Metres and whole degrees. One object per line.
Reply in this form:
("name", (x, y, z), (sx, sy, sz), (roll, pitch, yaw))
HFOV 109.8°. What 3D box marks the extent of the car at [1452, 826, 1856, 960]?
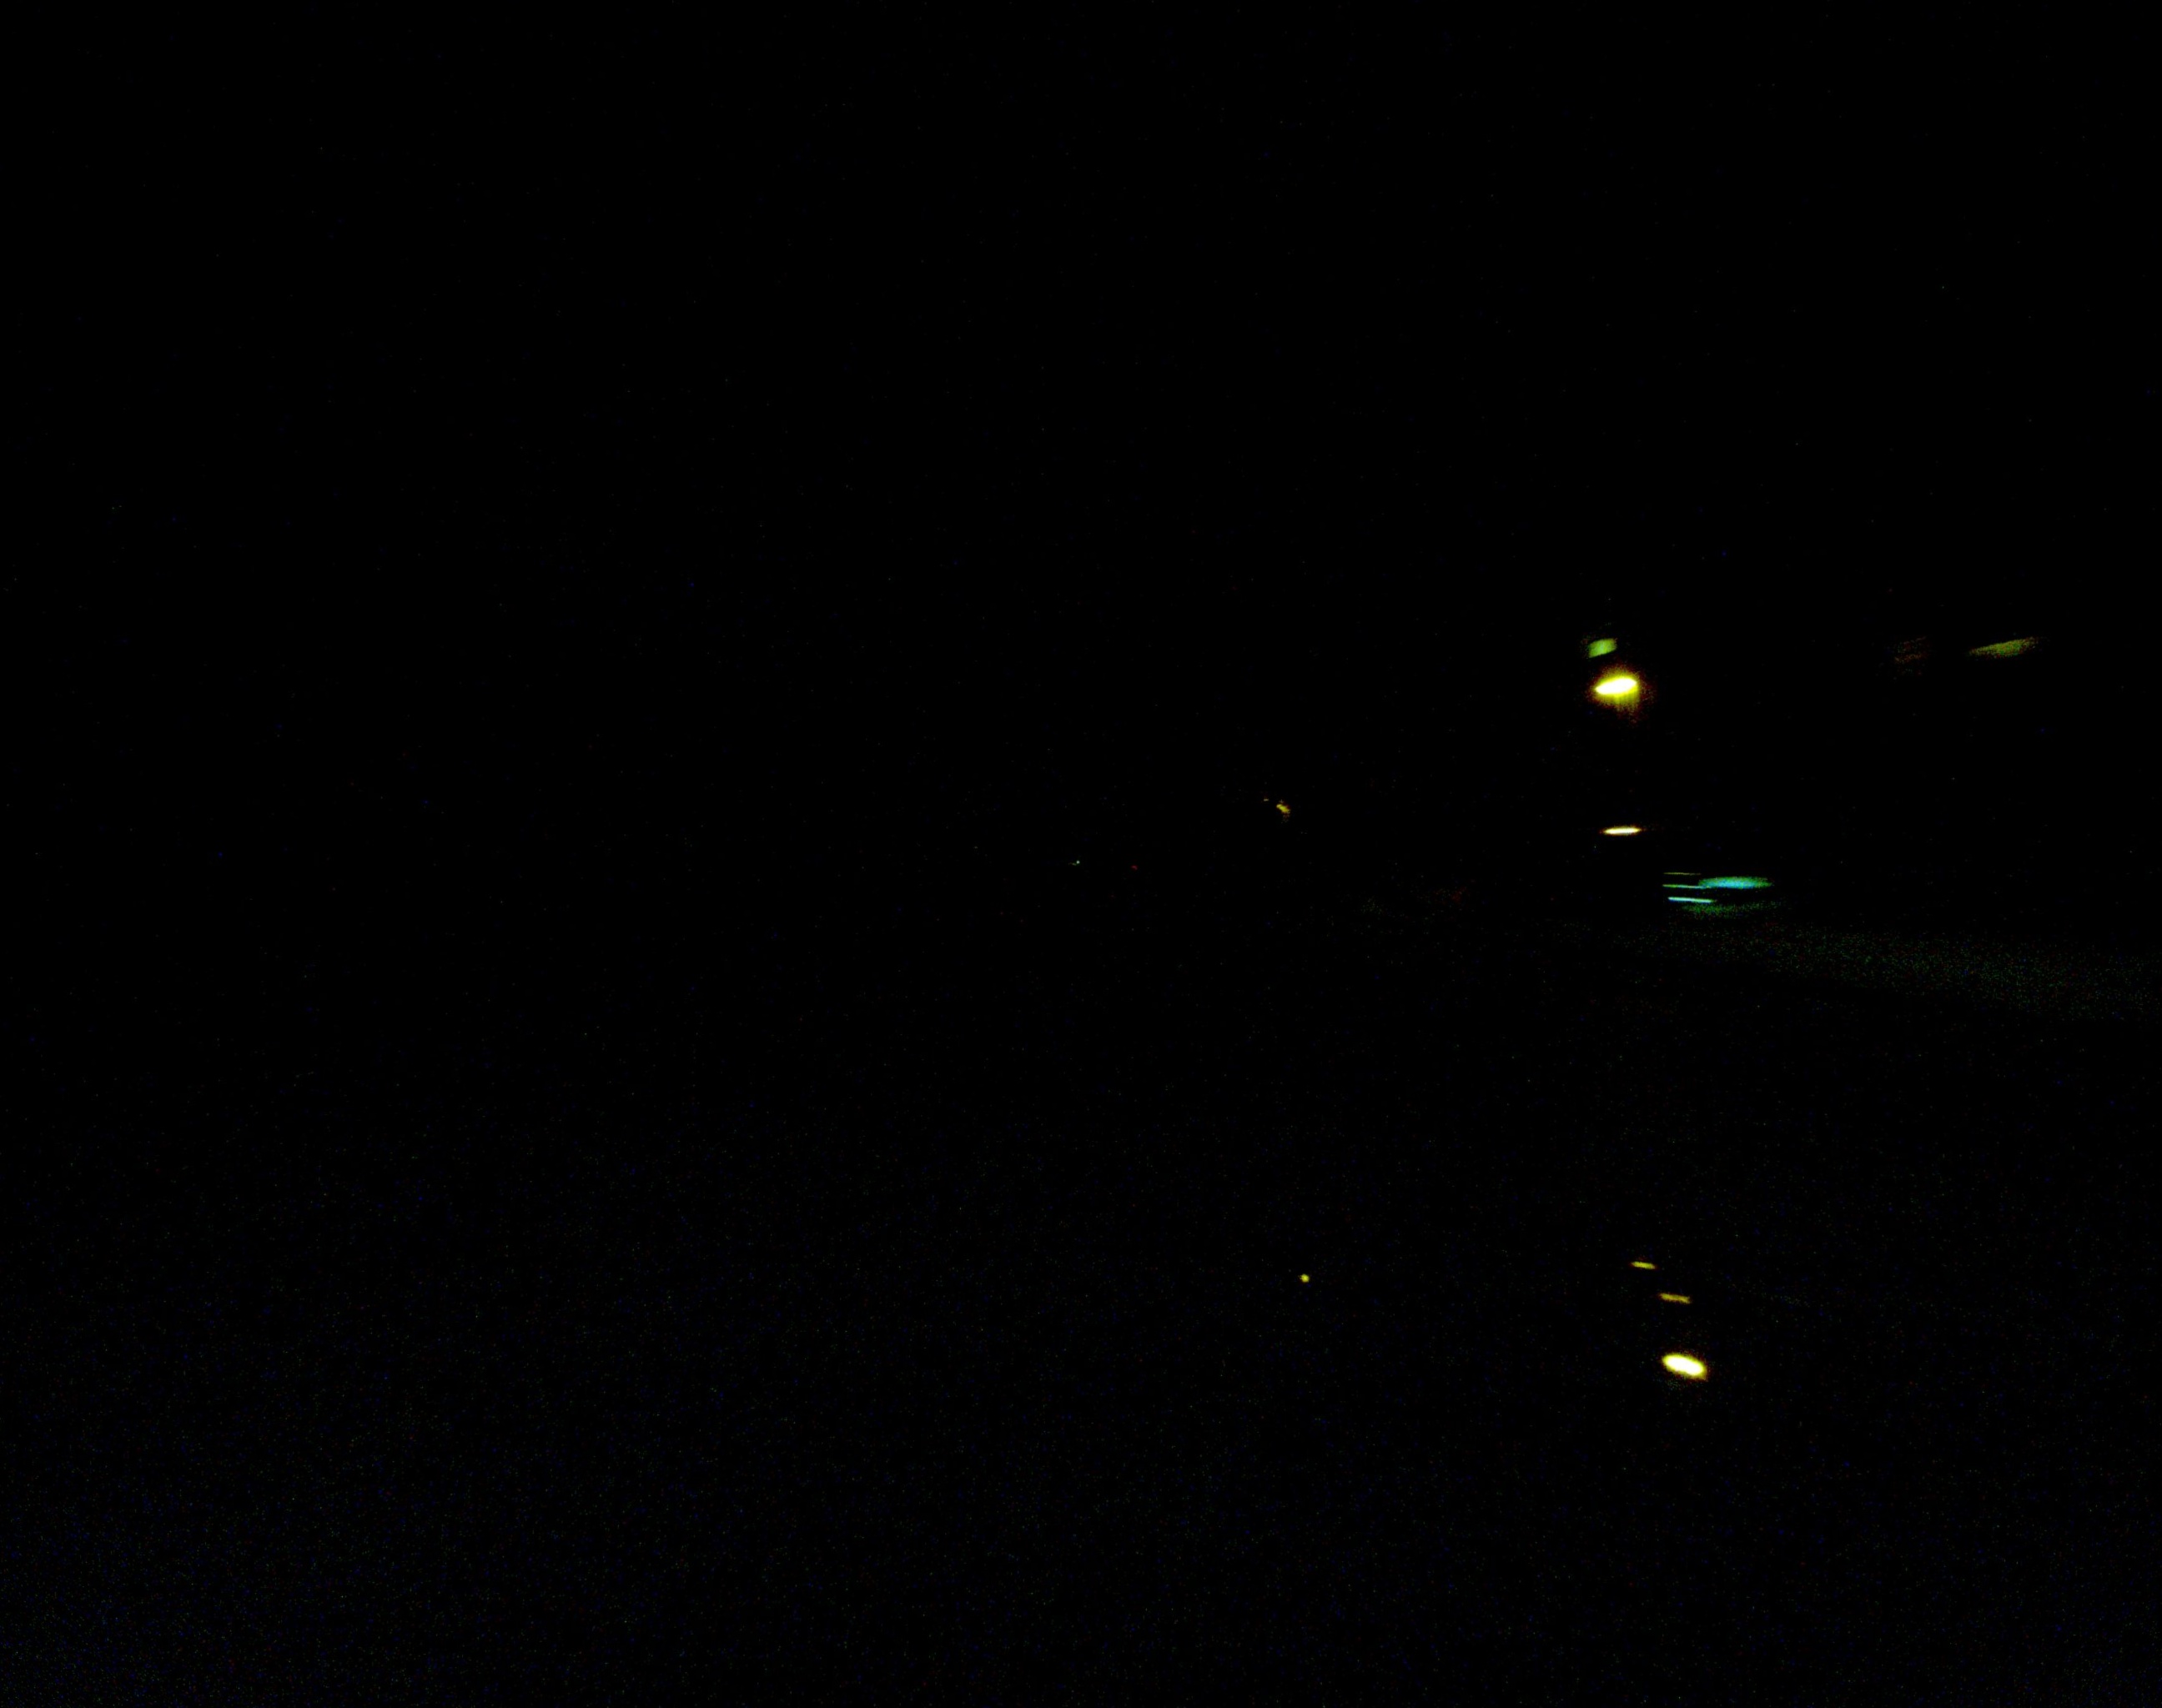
("car", (7.567, 0.428, 10.807), (1.999, 1.371, 4.596), (-4, 0, -5))
